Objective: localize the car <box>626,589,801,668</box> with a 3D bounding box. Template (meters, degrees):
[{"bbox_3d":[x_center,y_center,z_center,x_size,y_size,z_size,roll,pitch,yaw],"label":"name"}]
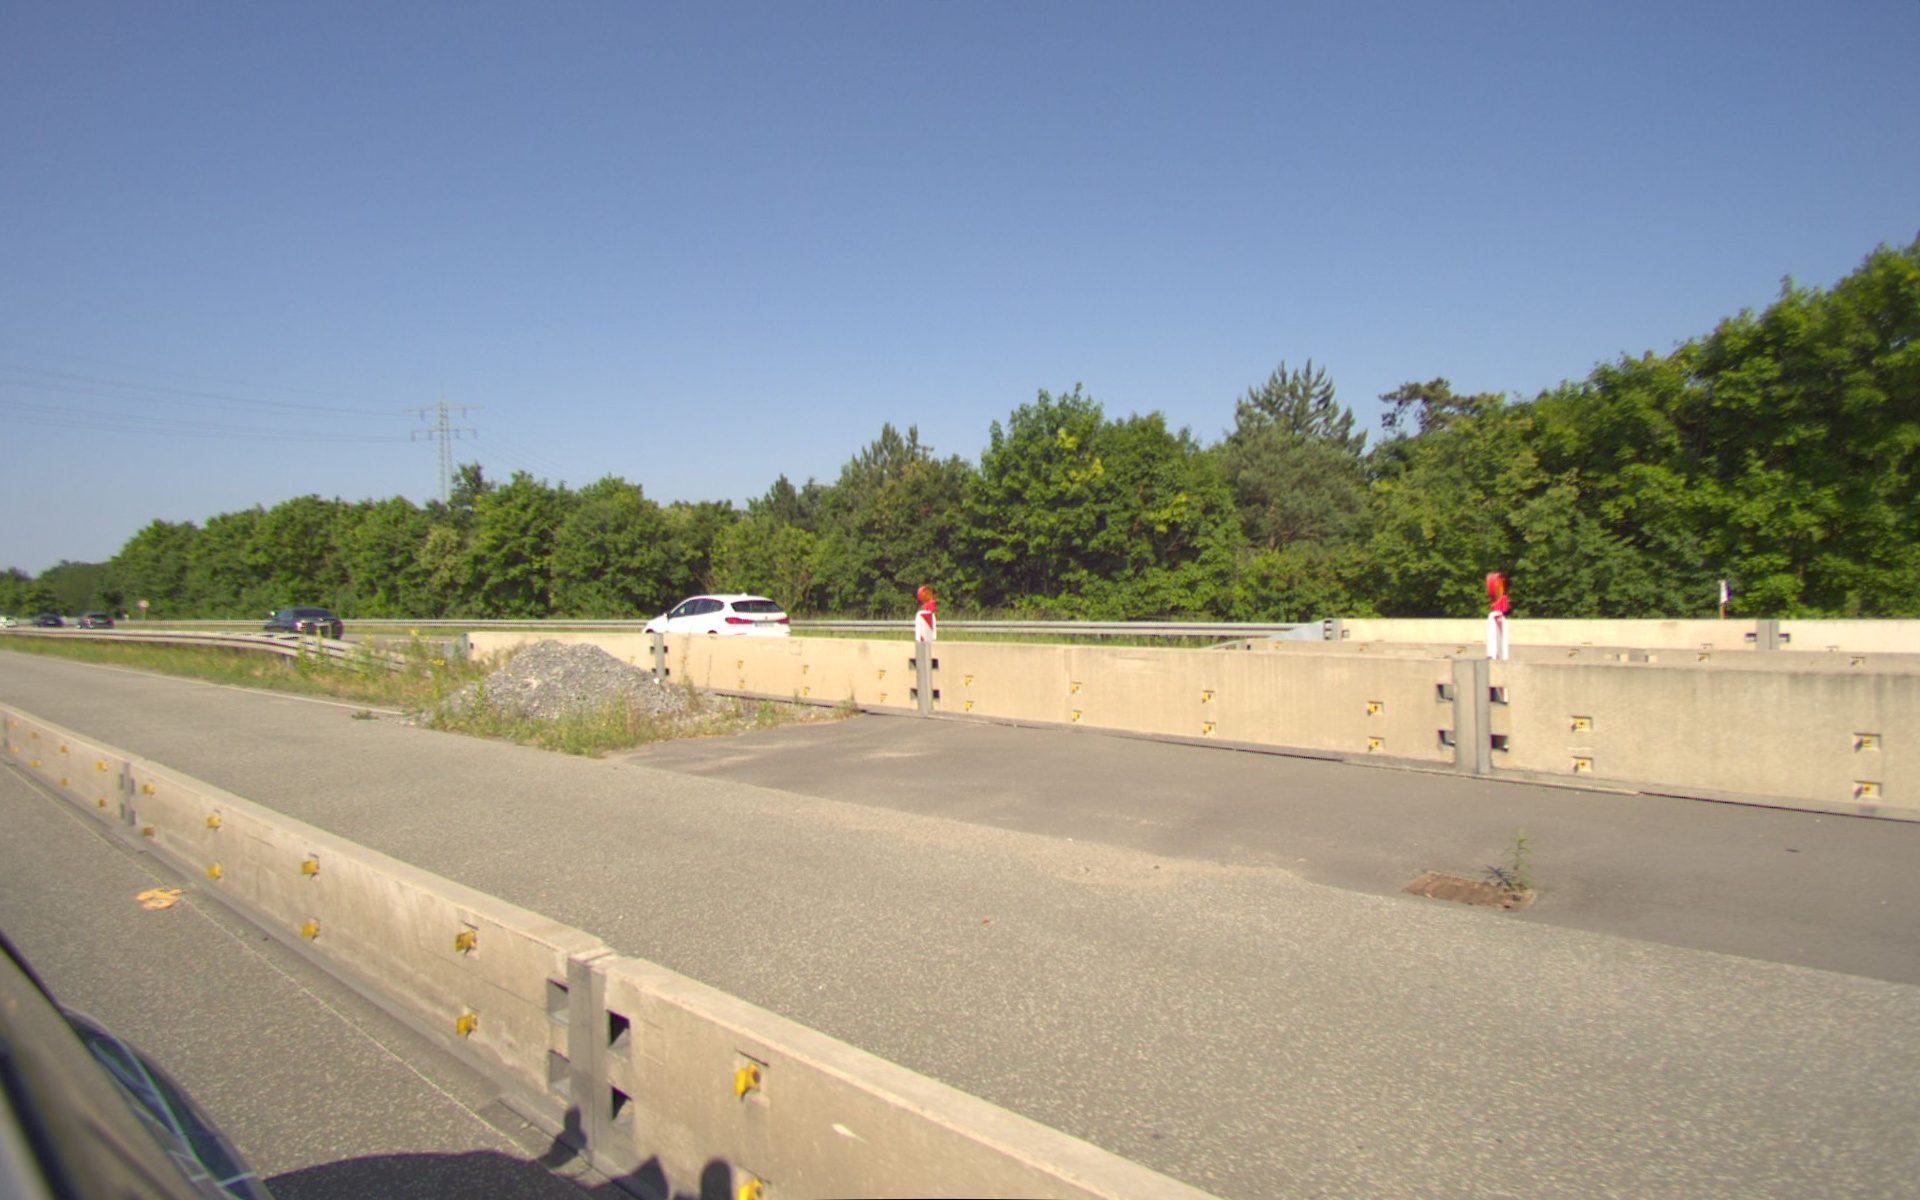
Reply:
[{"bbox_3d":[-5.716,0.625,23.147,4.440,1.620,1.797,-1,0,44],"label":"car"}]

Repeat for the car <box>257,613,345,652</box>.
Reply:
[{"bbox_3d":[-26.672,1.300,40.875,4.811,1.451,1.820,-1,-1,42],"label":"car"}]

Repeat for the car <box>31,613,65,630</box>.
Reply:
[{"bbox_3d":[-82.769,1.991,91.791,5.022,1.499,1.796,-1,-1,42],"label":"car"}]

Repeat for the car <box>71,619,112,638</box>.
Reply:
[{"bbox_3d":[-68.901,2.236,80.273,4.590,1.445,1.778,-1,0,41],"label":"car"}]

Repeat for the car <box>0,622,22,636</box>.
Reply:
[{"bbox_3d":[-109.115,3.289,115.970,4.791,1.481,1.742,-1,1,41],"label":"car"}]
